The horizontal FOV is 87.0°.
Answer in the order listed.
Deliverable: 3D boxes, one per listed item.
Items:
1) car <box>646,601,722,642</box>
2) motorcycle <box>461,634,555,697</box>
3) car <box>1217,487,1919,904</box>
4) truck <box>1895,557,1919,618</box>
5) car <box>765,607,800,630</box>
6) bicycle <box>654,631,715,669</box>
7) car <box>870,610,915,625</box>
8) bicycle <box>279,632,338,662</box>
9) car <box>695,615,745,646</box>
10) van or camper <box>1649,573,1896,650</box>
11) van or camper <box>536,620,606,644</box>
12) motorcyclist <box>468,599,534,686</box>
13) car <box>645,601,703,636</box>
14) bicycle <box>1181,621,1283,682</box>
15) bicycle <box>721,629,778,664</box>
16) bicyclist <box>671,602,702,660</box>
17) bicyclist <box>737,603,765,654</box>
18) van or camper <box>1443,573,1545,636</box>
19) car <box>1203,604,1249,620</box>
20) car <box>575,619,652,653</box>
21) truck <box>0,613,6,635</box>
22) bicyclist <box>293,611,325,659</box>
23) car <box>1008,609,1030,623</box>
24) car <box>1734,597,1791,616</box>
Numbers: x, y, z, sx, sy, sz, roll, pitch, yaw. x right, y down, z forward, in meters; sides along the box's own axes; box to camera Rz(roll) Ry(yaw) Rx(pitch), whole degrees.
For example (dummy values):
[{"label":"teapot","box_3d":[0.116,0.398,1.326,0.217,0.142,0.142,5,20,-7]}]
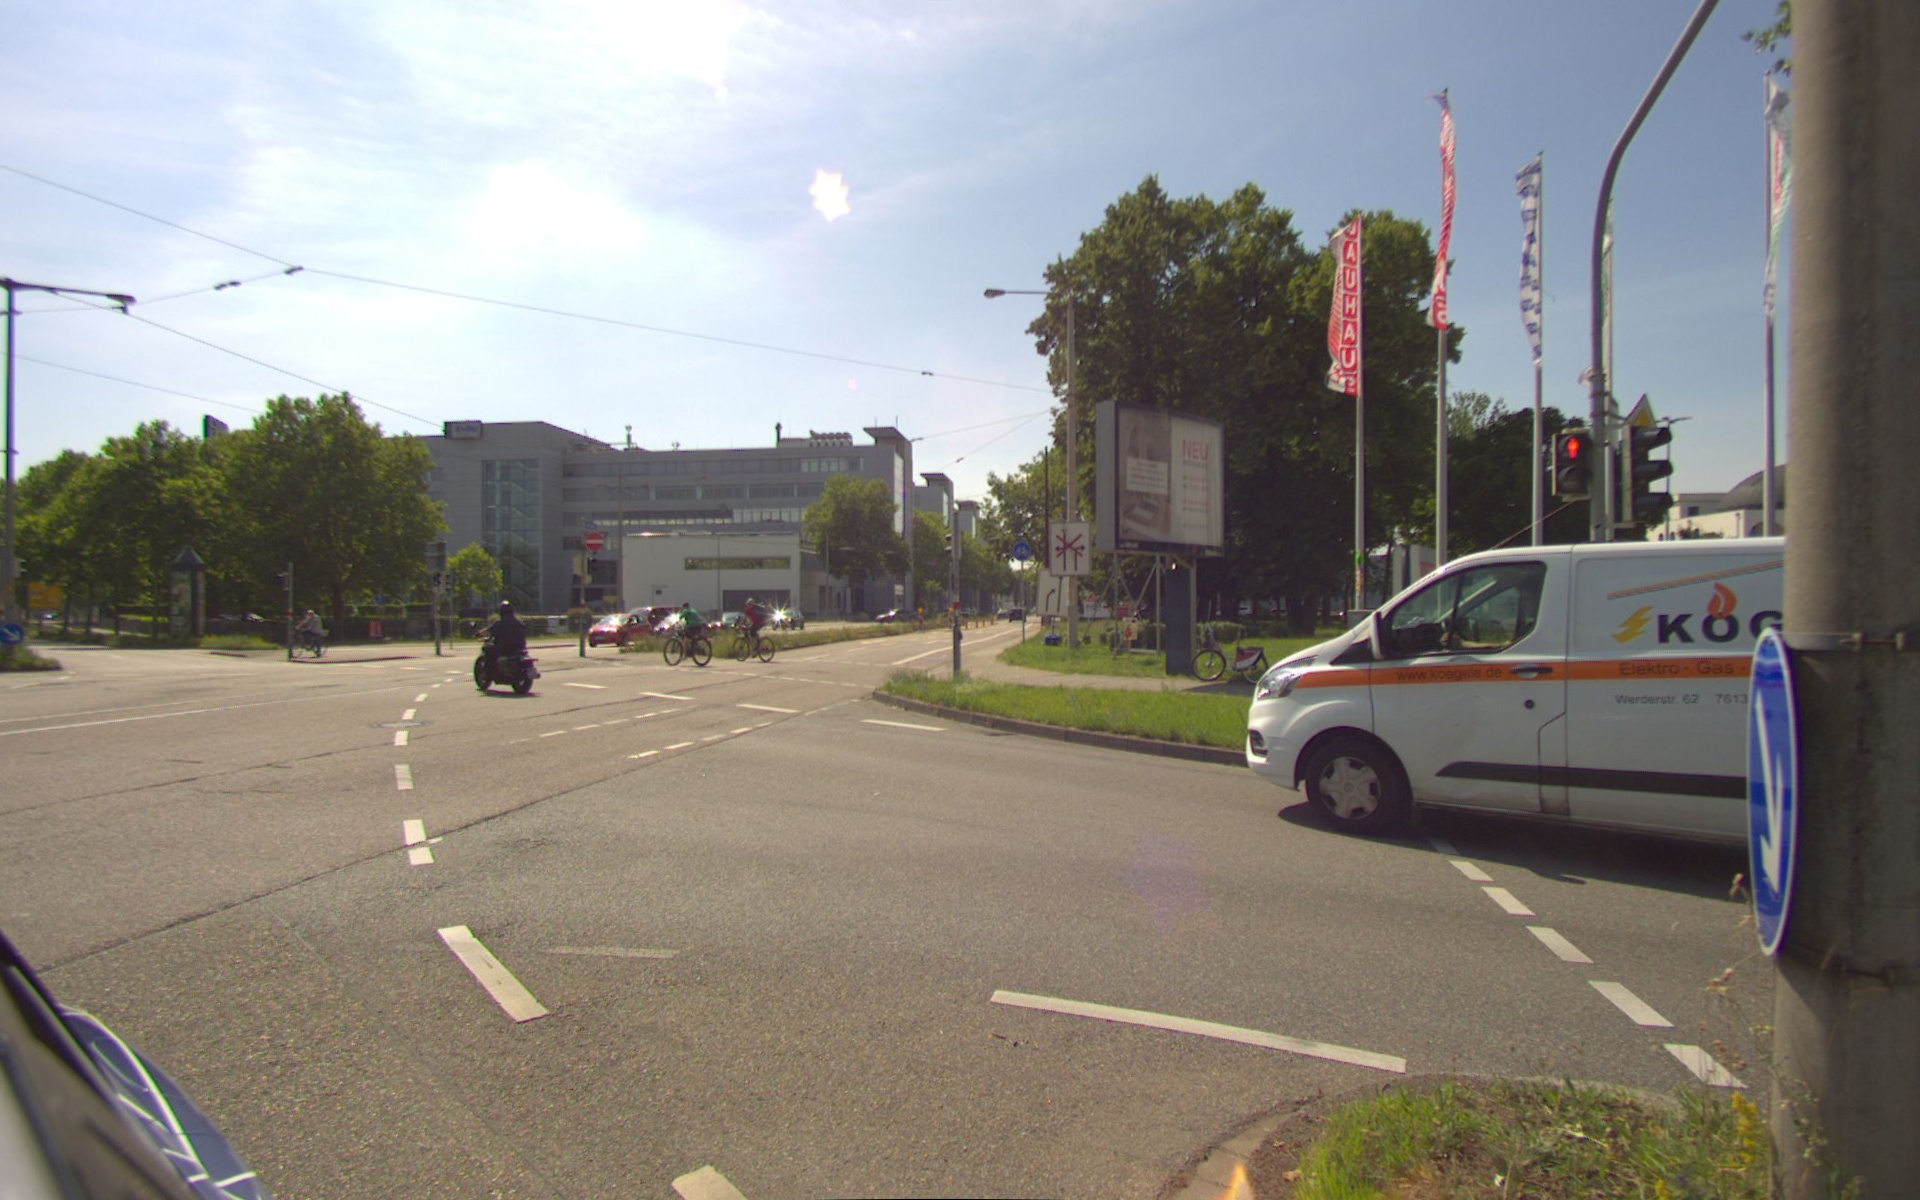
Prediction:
[{"label":"car","box_3d":[-16.151,1.250,59.497,2.132,2.295,5.018,-1,-1,14]},{"label":"motorcycle","box_3d":[-7.969,1.118,17.780,2.217,0.999,0.680,-1,-1,42]},{"label":"car","box_3d":[4.393,0.509,6.428,5.030,2.015,1.955,-1,-3,42]},{"label":"truck","box_3d":[46.943,-0.639,44.762,2.890,2.914,9.599,-1,-1,5]},{"label":"car","box_3d":[-13.654,1.422,77.939,1.972,1.712,3.999,-1,-1,0]},{"label":"bicycle","box_3d":[-7.290,1.313,26.731,1.993,0.945,0.412,-1,-1,36]},{"label":"car","box_3d":[-6.836,1.768,102.553,4.149,1.454,1.795,0,-1,-29]},{"label":"bicycle","box_3d":[-24.652,1.766,38.356,0.520,1.072,2.157,-1,-1,12]},{"label":"car","box_3d":[-14.033,1.776,59.449,1.972,1.712,3.999,0,-1,0]},{"label":"van or camper","box_3d":[24.640,0.355,30.926,5.455,2.226,2.190,0,0,9]},{"label":"van or camper","box_3d":[-28.730,2.357,74.826,4.455,1.704,1.997,-1,-1,5]},{"label":"motorcyclist","box_3d":[-8.144,0.733,17.945,0.987,1.481,0.735,-1,-1,42]},{"label":"car","box_3d":[-14.825,0.945,52.683,1.971,1.712,4.000,0,-1,-1]},{"label":"bicycle","box_3d":[4.982,0.926,18.642,0.586,1.045,1.900,0,0,-34]},{"label":"bicycle","box_3d":[-6.009,1.312,28.851,1.743,0.945,0.431,-1,-1,28]},{"label":"bicyclist","box_3d":[-7.194,0.797,26.659,0.608,1.503,0.523,-1,-1,35]},{"label":"bicyclist","box_3d":[-5.955,0.797,28.828,0.606,1.425,0.524,-1,-1,28]},{"label":"van or camper","box_3d":[28.177,0.236,53.731,2.680,3.124,6.311,-1,0,7]},{"label":"car","box_3d":[26.585,1.233,101.277,4.334,1.576,1.869,-1,-1,10]},{"label":"car","box_3d":[-15.681,1.595,45.980,1.824,1.460,3.993,0,-1,6]},{"label":"truck","box_3d":[-111.089,2.737,115.763,2.112,2.494,7.143,0,-1,-38]},{"label":"bicyclist","box_3d":[-24.657,1.331,38.327,0.698,1.802,0.765,-1,-1,13]},{"label":"car","box_3d":[6.142,1.658,104.906,1.771,1.454,4.206,-1,-1,12]},{"label":"car","box_3d":[78.539,0.686,99.114,3.955,1.807,1.842,-1,-1,10]}]
